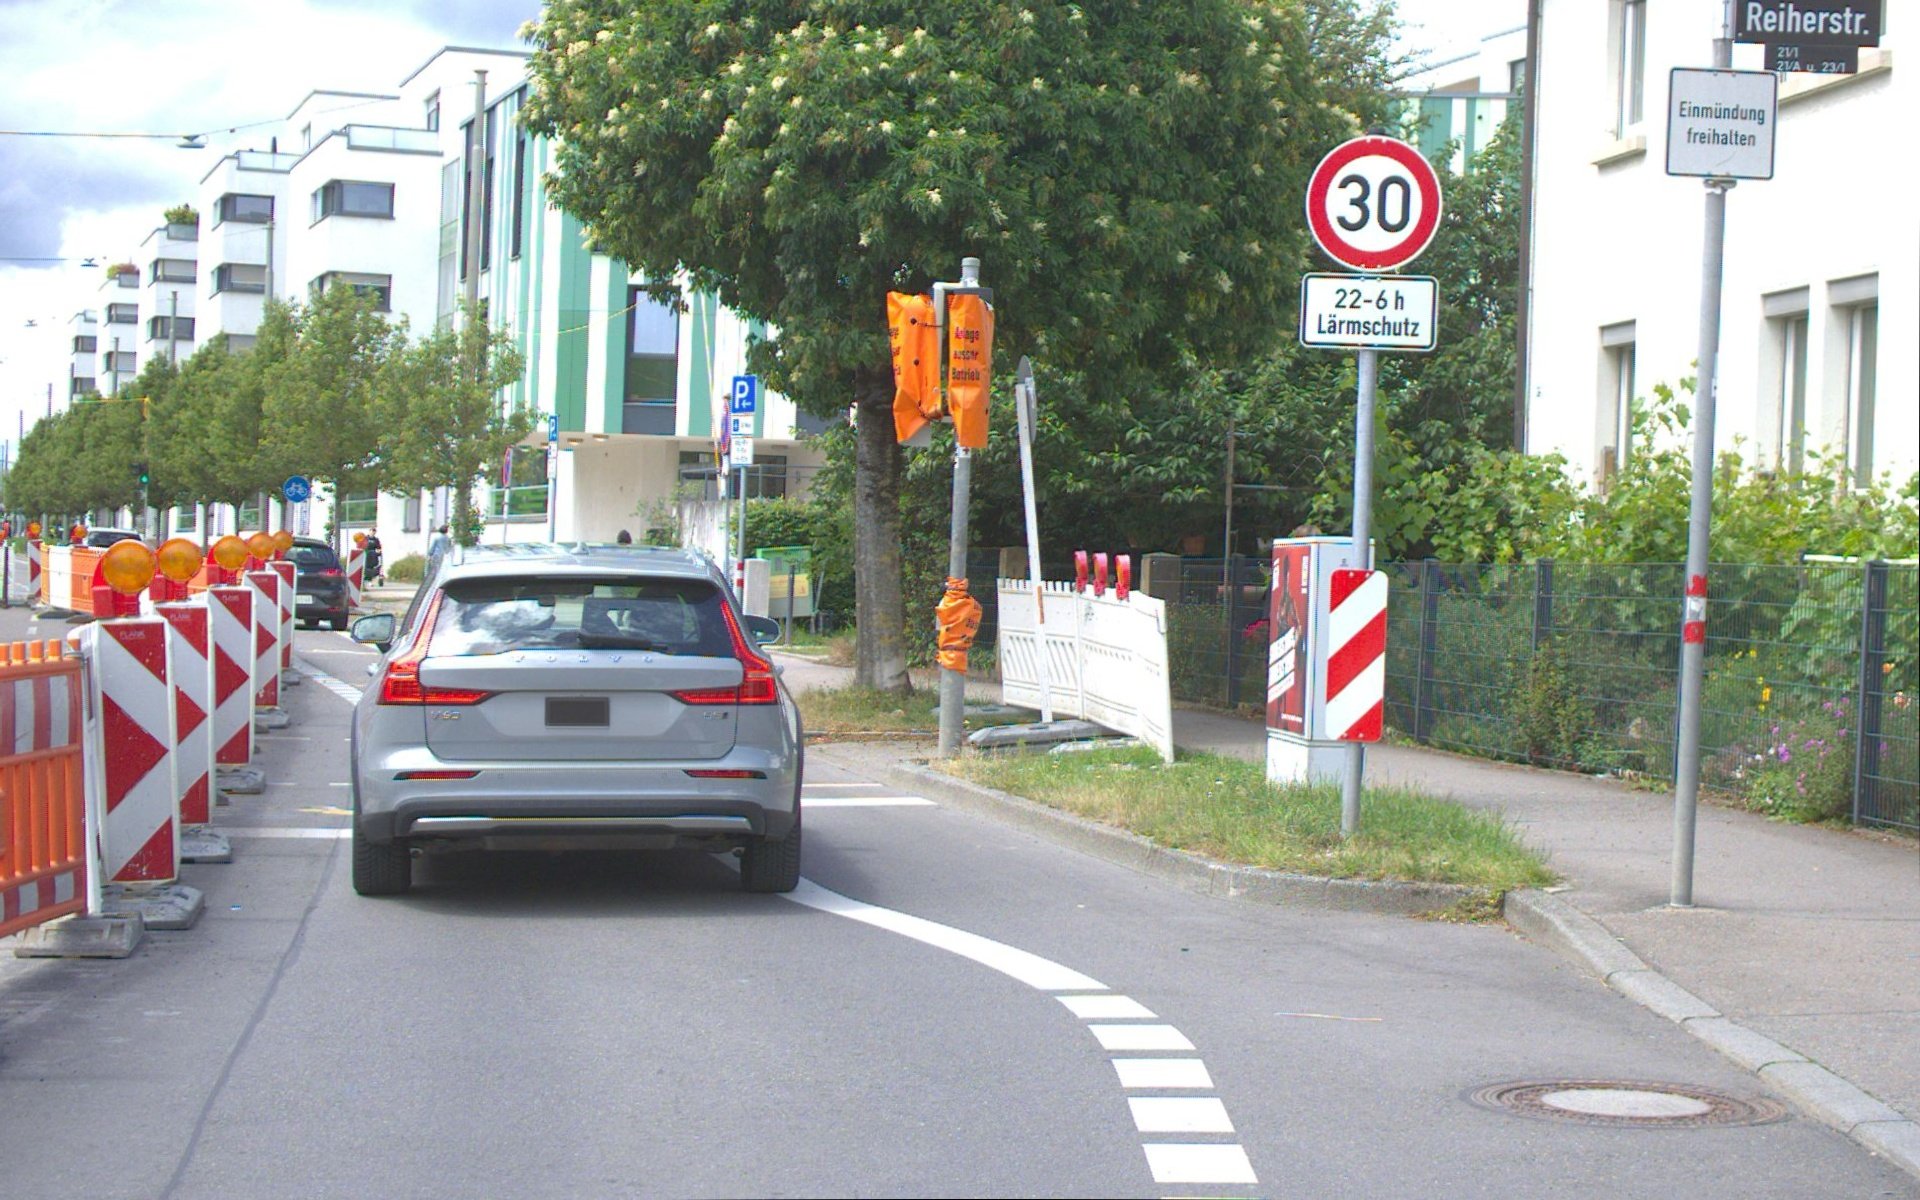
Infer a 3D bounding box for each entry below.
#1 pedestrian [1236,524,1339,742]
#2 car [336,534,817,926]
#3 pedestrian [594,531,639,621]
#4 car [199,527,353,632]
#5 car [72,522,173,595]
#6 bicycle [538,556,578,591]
[{"bbox_3d":[2.359,0.231,24.723,0.521,1.534,0.635,2,1,25],"label":"pedestrian"},{"bbox_3d":[-1.749,0.466,15.340,1.854,1.508,4.001,0,1,-8],"label":"car"},{"bbox_3d":[-6.018,-0.420,60.227,0.580,1.546,0.869,1,1,-18],"label":"pedestrian"},{"bbox_3d":[-10.953,-0.348,54.863,1.854,1.508,4.001,3,1,-19],"label":"car"},{"bbox_3d":[-19.278,-0.974,79.008,1.844,1.508,4.001,3,1,-19],"label":"car"},{"bbox_3d":[-9.776,-0.647,83.583,0.307,0.839,1.023,2,1,40],"label":"bicycle"}]
